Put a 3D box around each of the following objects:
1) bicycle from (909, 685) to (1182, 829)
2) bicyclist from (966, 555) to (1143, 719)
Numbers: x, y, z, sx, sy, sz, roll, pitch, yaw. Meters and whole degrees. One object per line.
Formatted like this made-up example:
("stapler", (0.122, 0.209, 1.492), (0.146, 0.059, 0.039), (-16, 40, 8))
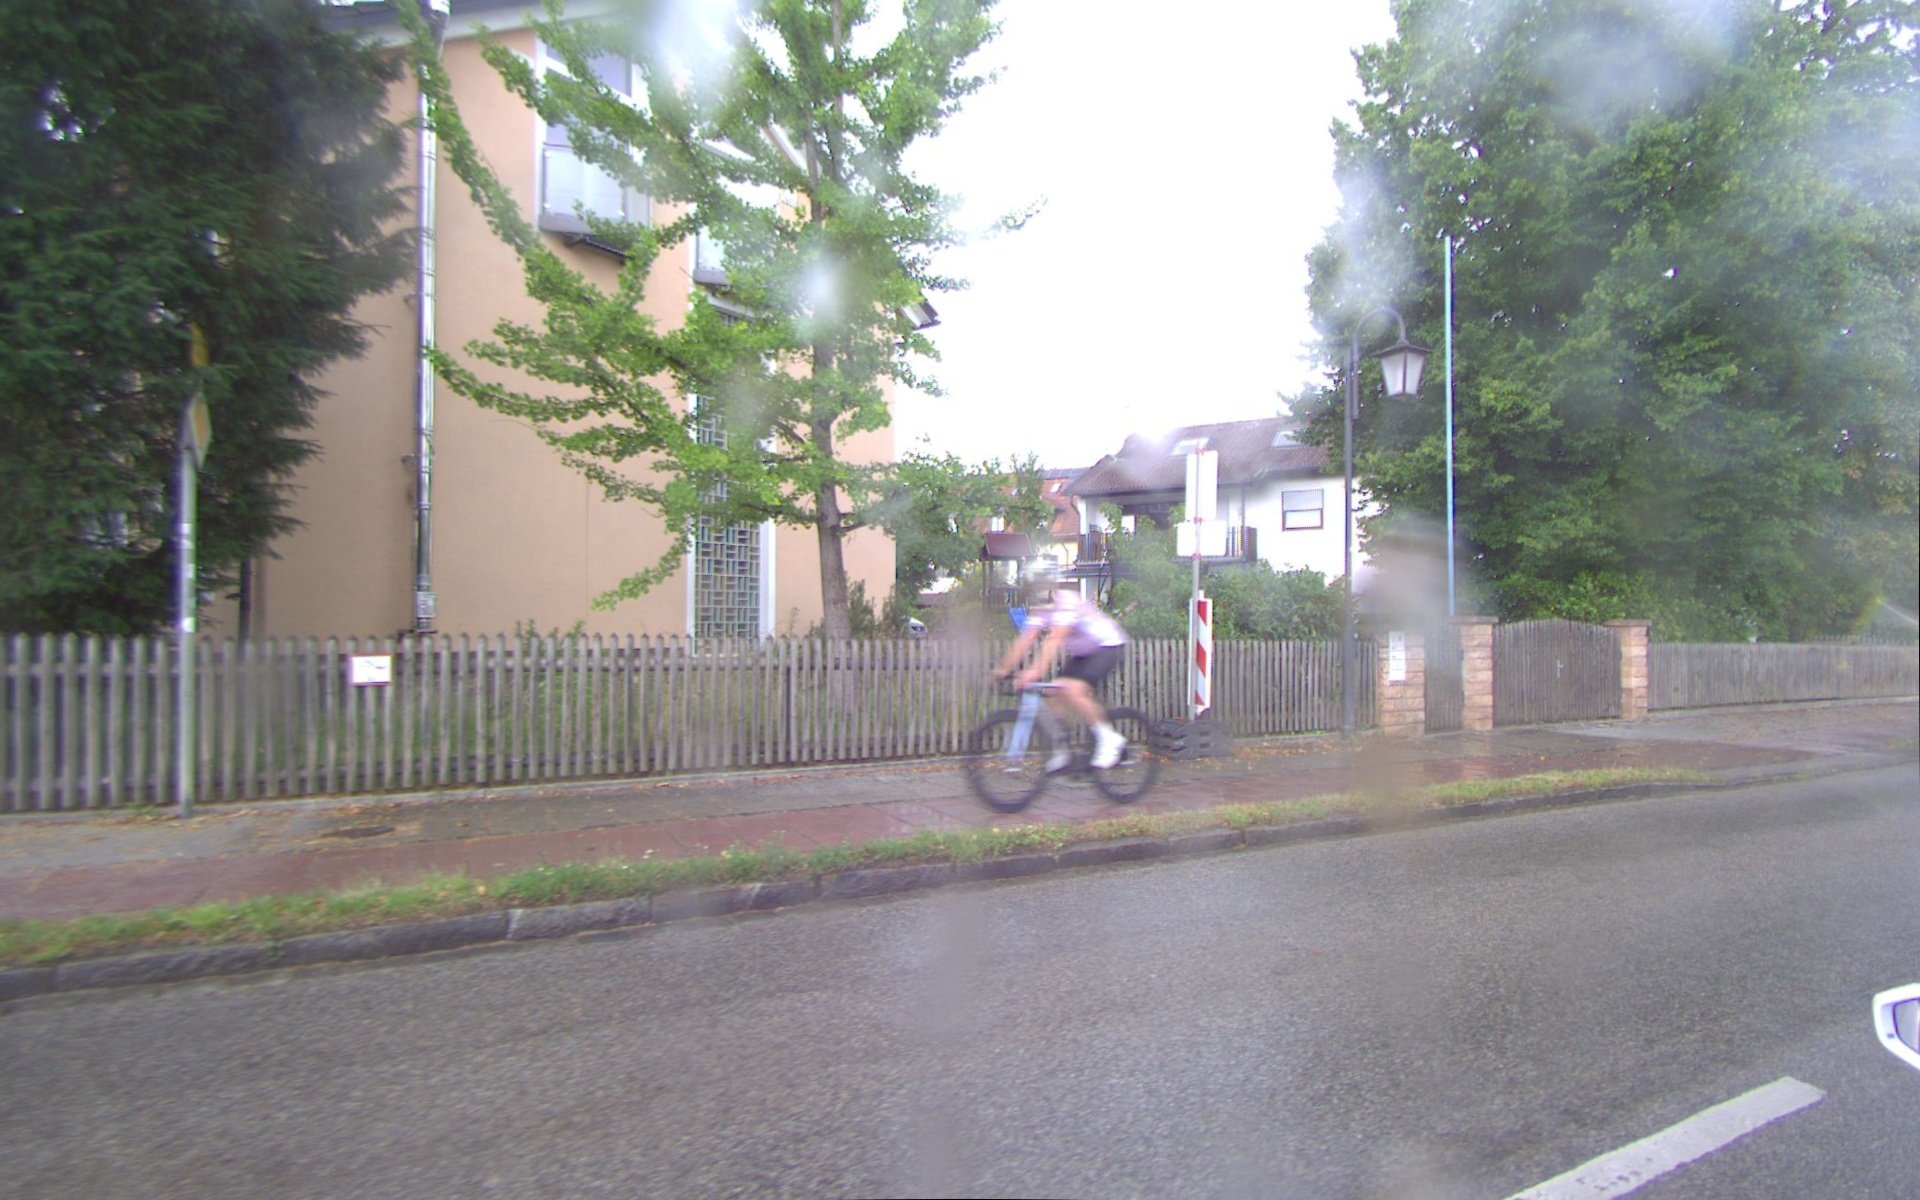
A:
("bicycle", (0.626, 1.026, 6.872), (1.954, 0.809, 0.454), (2, 0, -31))
("bicyclist", (0.647, 0.243, 6.856), (1.048, 1.035, 0.584), (1, 0, -31))
